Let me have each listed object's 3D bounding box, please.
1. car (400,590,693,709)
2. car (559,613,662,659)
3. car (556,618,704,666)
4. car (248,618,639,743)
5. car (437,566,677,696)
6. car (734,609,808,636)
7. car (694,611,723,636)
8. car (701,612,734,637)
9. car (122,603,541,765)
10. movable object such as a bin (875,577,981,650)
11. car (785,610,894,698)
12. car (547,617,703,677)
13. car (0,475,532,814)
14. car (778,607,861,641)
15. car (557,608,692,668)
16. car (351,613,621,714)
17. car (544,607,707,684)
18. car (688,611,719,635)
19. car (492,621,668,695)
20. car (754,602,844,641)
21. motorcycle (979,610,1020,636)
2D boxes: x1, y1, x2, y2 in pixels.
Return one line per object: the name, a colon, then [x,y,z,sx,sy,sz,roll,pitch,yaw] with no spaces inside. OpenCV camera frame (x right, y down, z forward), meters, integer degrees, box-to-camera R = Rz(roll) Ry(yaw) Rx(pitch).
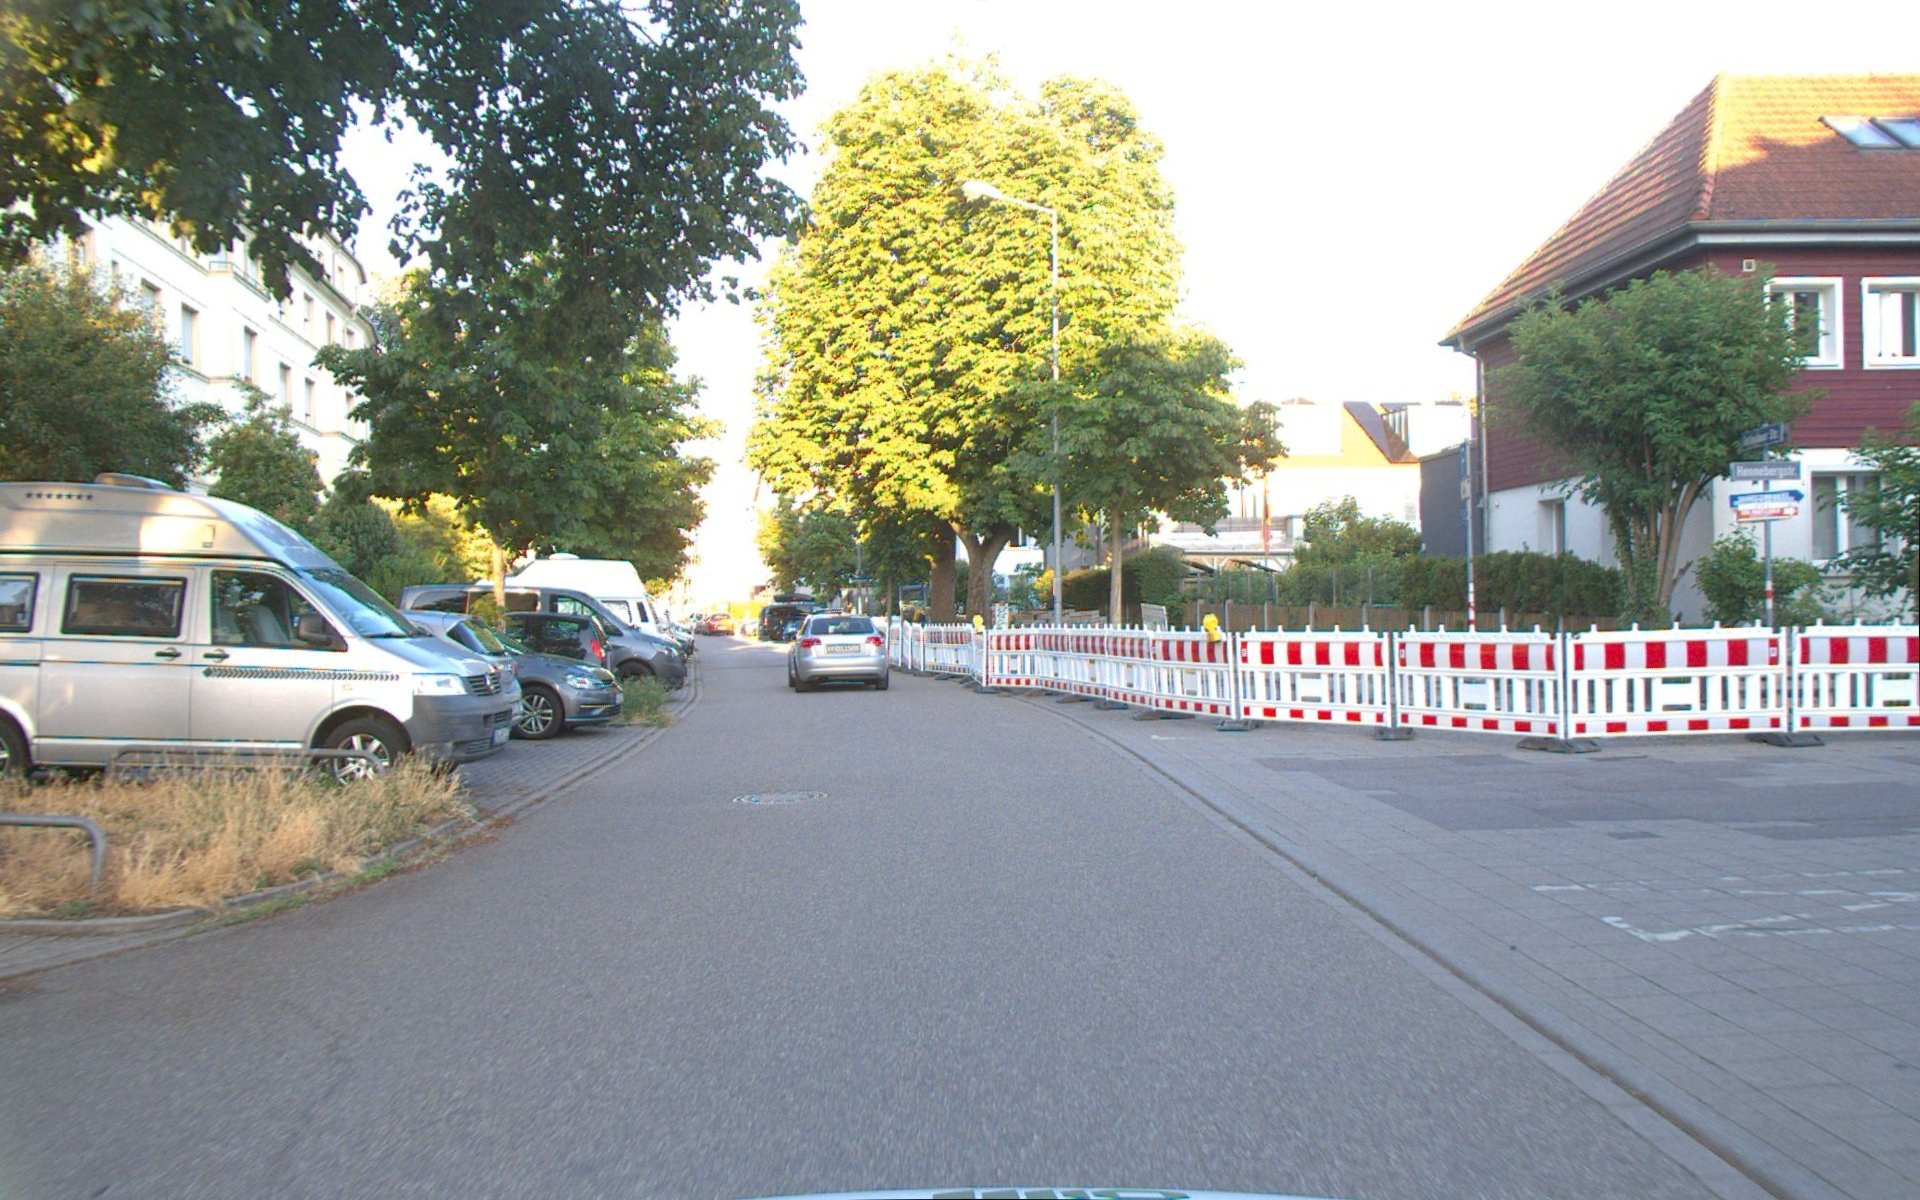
car: [-6.858,0.797,27.888,4.586,1.906,1.996,0,0,-9]
car: [-12.017,1.229,56.967,3.351,1.510,1.755,0,0,-9]
car: [-10.828,1.371,54.492,4.686,1.496,1.876,0,-1,-11]
car: [-6.093,0.941,19.855,4.159,1.418,1.683,0,-1,-3]
car: [-7.914,0.580,32.849,4.418,2.473,1.996,0,0,-8]
car: [-11.287,1.327,98.918,4.090,1.599,1.786,0,0,-21]
car: [-16.919,1.563,111.215,1.636,1.601,3.427,0,0,-15]
car: [-15.569,1.555,106.011,1.701,1.509,3.543,0,0,-15]
car: [-6.452,0.848,17.312,3.729,1.549,1.651,1,-1,-5]
movable object such as a bin: [-1.198,0.464,58.325,2.585,2.445,5.176,0,0,-15]
car: [-2.346,1.001,31.425,1.774,1.514,3.992,-1,-1,-8]
car: [-9.680,1.342,47.792,4.332,1.643,1.893,0,0,-14]
car: [-6.169,0.347,13.862,4.635,2.614,2.000,0,0,-1]
car: [-7.202,1.191,84.581,3.930,1.680,1.754,0,0,-21]
car: [-12.024,1.344,59.476,4.686,2.049,1.995,0,0,-11]
car: [-7.114,0.931,25.124,3.697,1.464,1.653,0,0,-7]
car: [-8.241,1.095,41.042,3.787,1.808,1.840,-1,0,-7]
car: [-18.019,1.622,116.078,1.778,1.641,3.567,0,0,-15]
car: [-8.737,1.328,38.326,3.787,1.623,1.783,0,0,-7]
car: [-8.676,1.151,89.231,4.487,2.058,2.090,0,0,-19]
motorcycle: [1.716,0.995,71.761,1.825,1.125,0.574,0,0,-35]
